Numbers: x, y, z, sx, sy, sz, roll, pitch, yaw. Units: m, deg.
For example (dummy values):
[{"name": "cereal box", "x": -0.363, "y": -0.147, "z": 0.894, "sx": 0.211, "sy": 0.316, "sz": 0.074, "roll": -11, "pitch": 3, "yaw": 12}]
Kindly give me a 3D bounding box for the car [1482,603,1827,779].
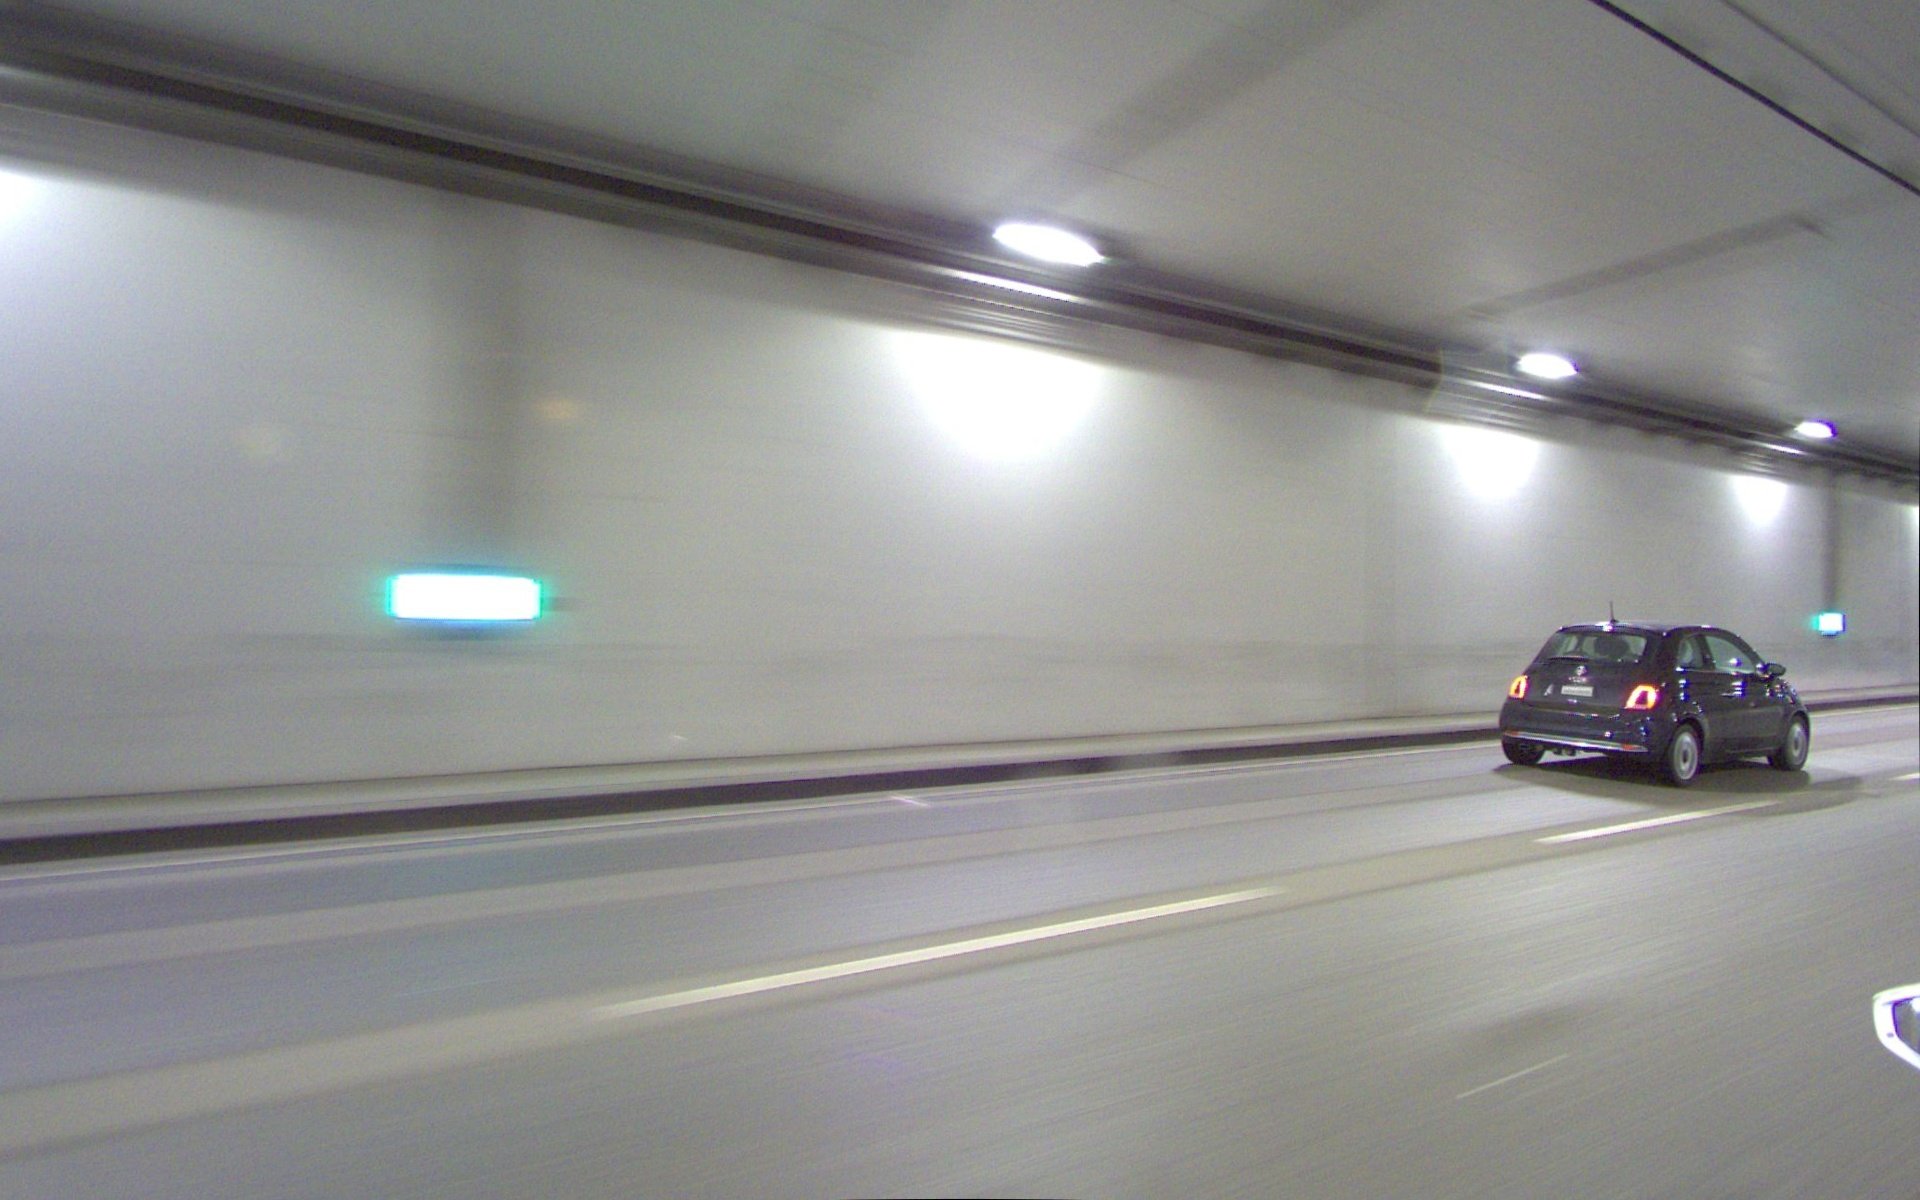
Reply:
[{"name": "car", "x": 7.152, "y": 0.821, "z": 10.281, "sx": 3.533, "sy": 1.474, "sz": 1.603, "roll": 1, "pitch": 1, "yaw": -32}]
